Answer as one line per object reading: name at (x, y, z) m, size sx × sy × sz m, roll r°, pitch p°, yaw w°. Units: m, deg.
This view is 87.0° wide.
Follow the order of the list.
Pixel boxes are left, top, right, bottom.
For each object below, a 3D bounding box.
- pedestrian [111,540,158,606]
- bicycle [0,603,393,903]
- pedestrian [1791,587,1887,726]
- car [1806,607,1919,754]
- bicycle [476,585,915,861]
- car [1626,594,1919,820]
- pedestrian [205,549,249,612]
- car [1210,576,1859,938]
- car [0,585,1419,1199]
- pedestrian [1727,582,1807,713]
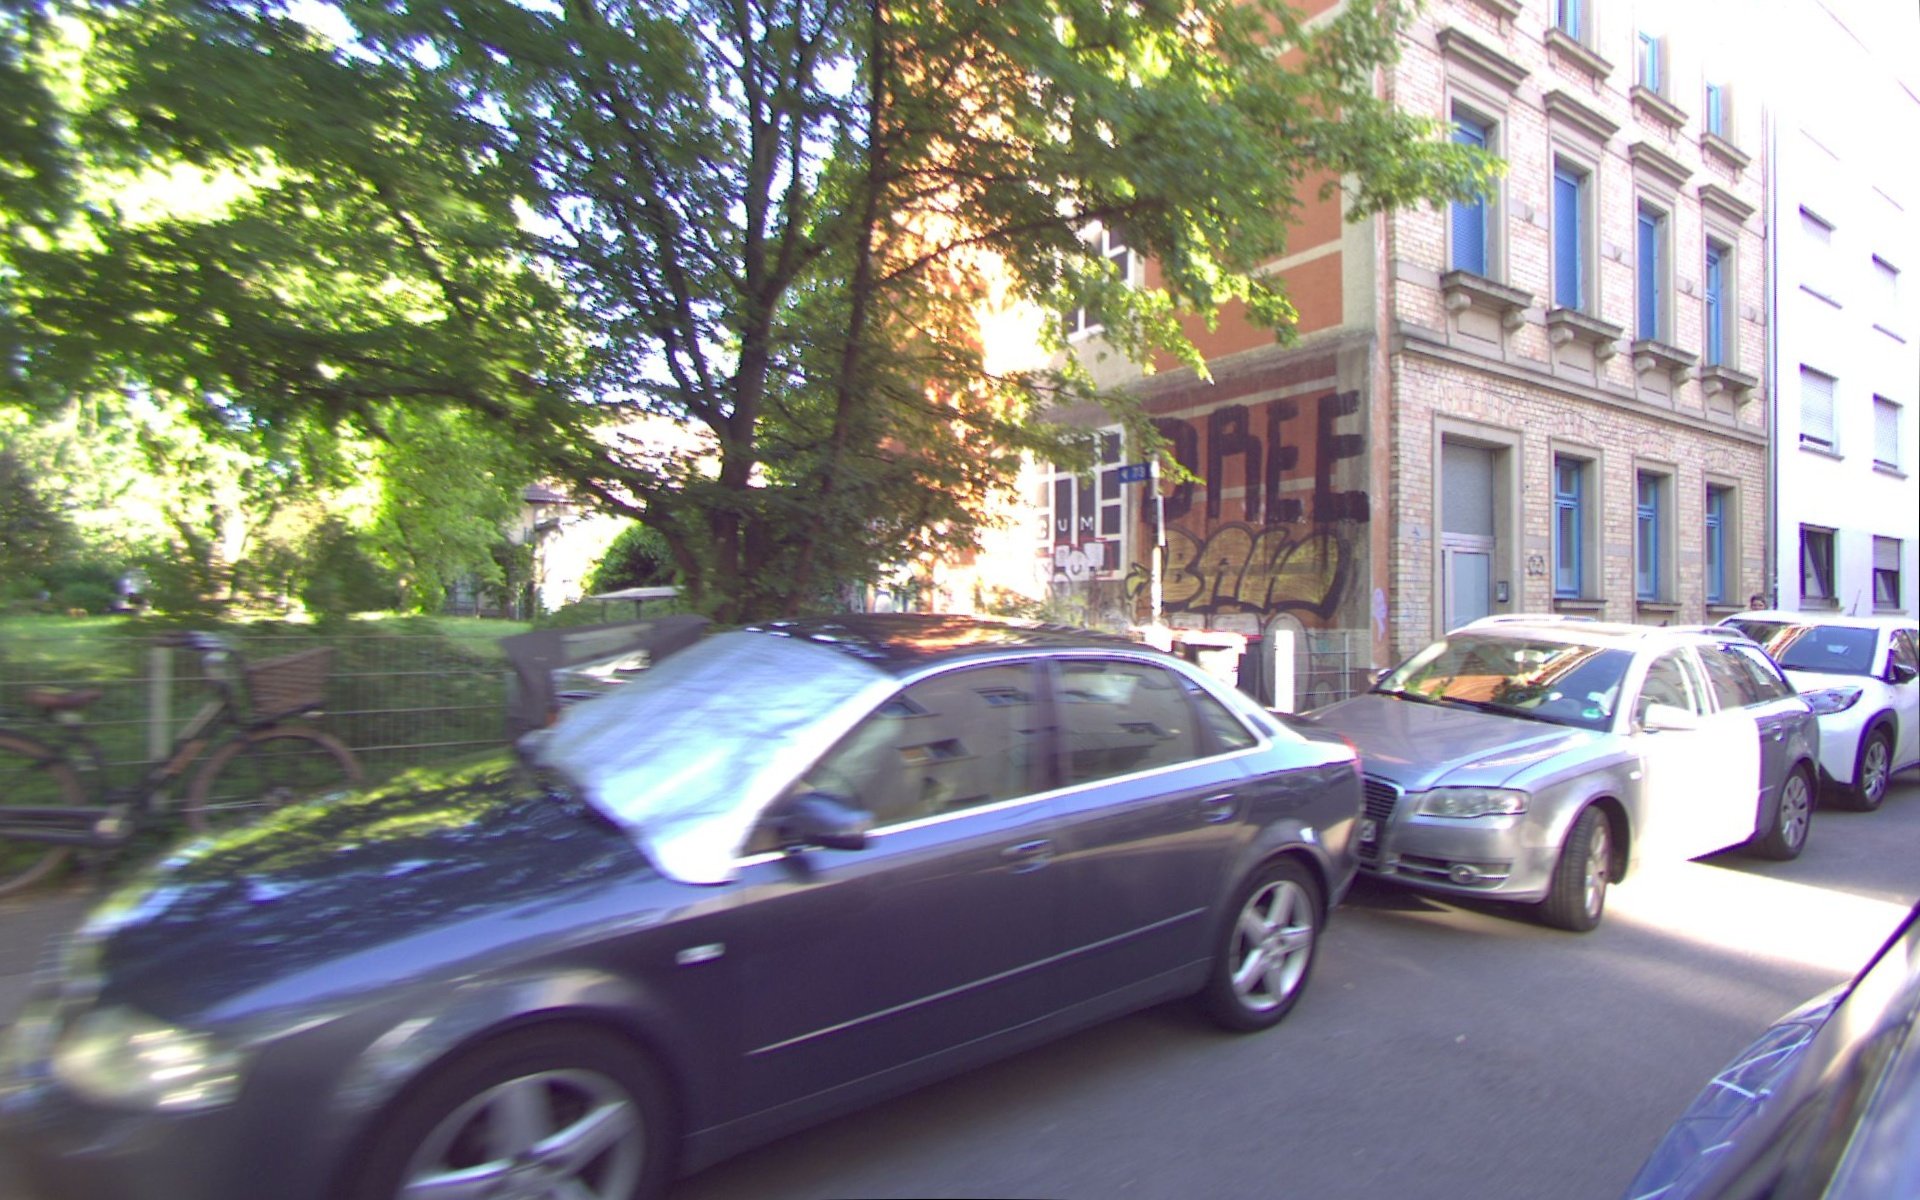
pedestrian at (-25.800, -0.836, 31.634) m, size 0.898 × 2.039 × 0.746 m, roll 1°, pitch 0°, yaw 13°
bicycle at (-3.800, 0.637, 4.743) m, size 1.942 × 1.216 × 0.850 m, roll 1°, pitch 0°, yaw -32°
pedestrian at (11.623, 0.718, 13.389) m, size 0.738 × 1.730 × 0.713 m, roll 1°, pitch 3°, yaw -34°
car at (11.296, 0.838, 11.532) m, size 3.927 × 1.469 × 1.599 m, roll 0°, pitch 1°, yaw -36°
bicycle at (-1.593, 0.605, 6.105) m, size 2.280 × 1.318 × 1.296 m, roll 1°, pitch 2°, yaw -31°
car at (7.721, 0.787, 9.063) m, size 3.691 × 1.605 × 1.599 m, roll 1°, pitch 1°, yaw -34°
pedestrian at (-24.147, -0.652, 33.339) m, size 0.898 × 2.039 × 0.746 m, roll 1°, pitch 0°, yaw 13°
car at (3.626, 0.658, 6.114) m, size 4.269 × 1.513 × 1.665 m, roll 0°, pitch 0°, yaw -33°
car at (-0.396, 0.747, 3.497) m, size 4.332 × 1.512 × 1.726 m, roll 0°, pitch 1°, yaw -37°
pedestrian at (11.169, 0.636, 14.017) m, size 0.693 × 1.730 × 0.600 m, roll 1°, pitch 3°, yaw -34°
